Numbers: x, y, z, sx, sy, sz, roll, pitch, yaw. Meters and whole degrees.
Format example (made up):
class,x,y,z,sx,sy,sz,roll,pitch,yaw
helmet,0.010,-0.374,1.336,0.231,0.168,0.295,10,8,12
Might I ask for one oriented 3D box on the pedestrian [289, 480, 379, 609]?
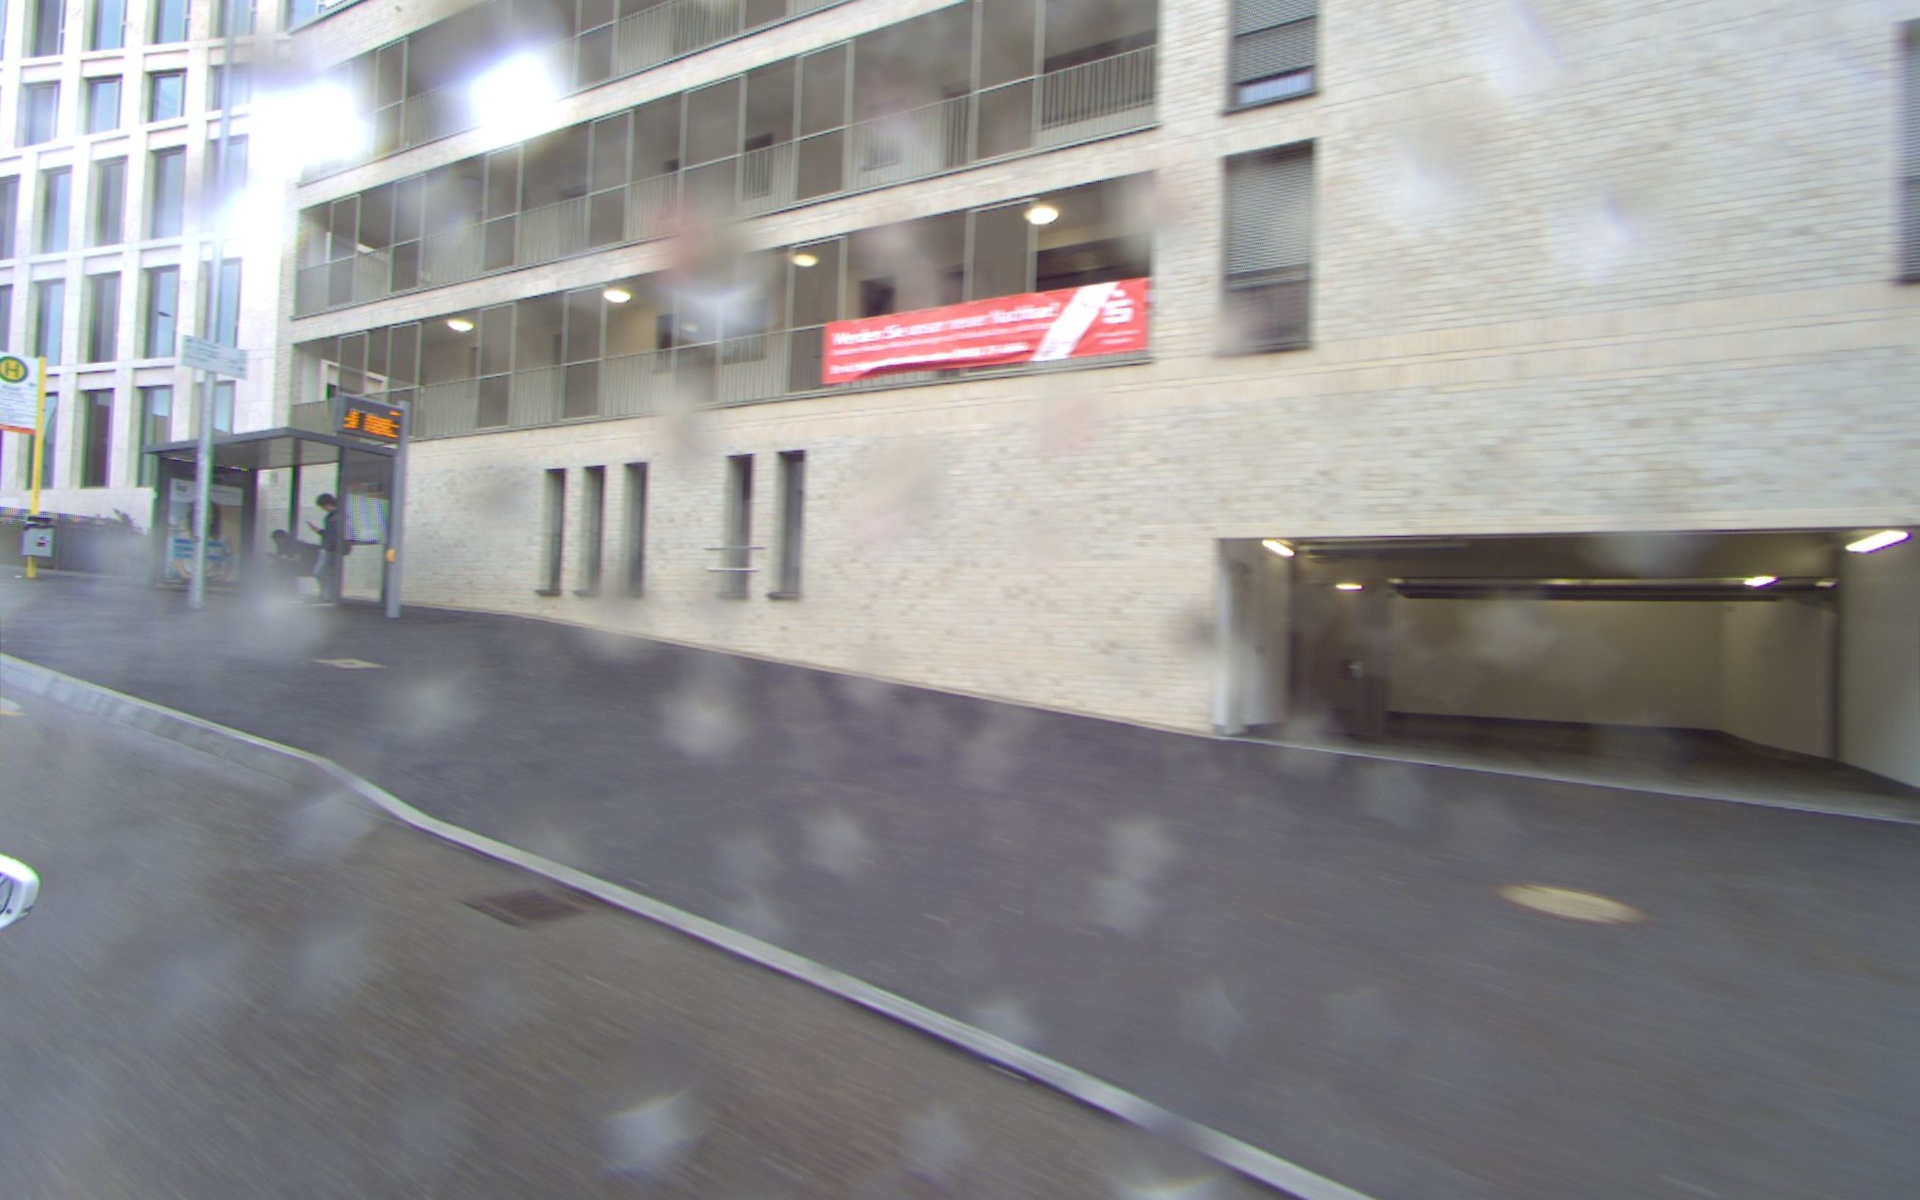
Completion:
class,x,y,z,sx,sy,sz,roll,pitch,yaw
pedestrian,-10.067,-0.884,16.178,1.004,1.965,0.782,6,2,32

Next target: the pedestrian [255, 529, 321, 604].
class,x,y,z,sx,sy,sz,roll,pitch,yaw
pedestrian,-11.317,-0.559,16.946,0.625,1.177,0.672,6,2,32
